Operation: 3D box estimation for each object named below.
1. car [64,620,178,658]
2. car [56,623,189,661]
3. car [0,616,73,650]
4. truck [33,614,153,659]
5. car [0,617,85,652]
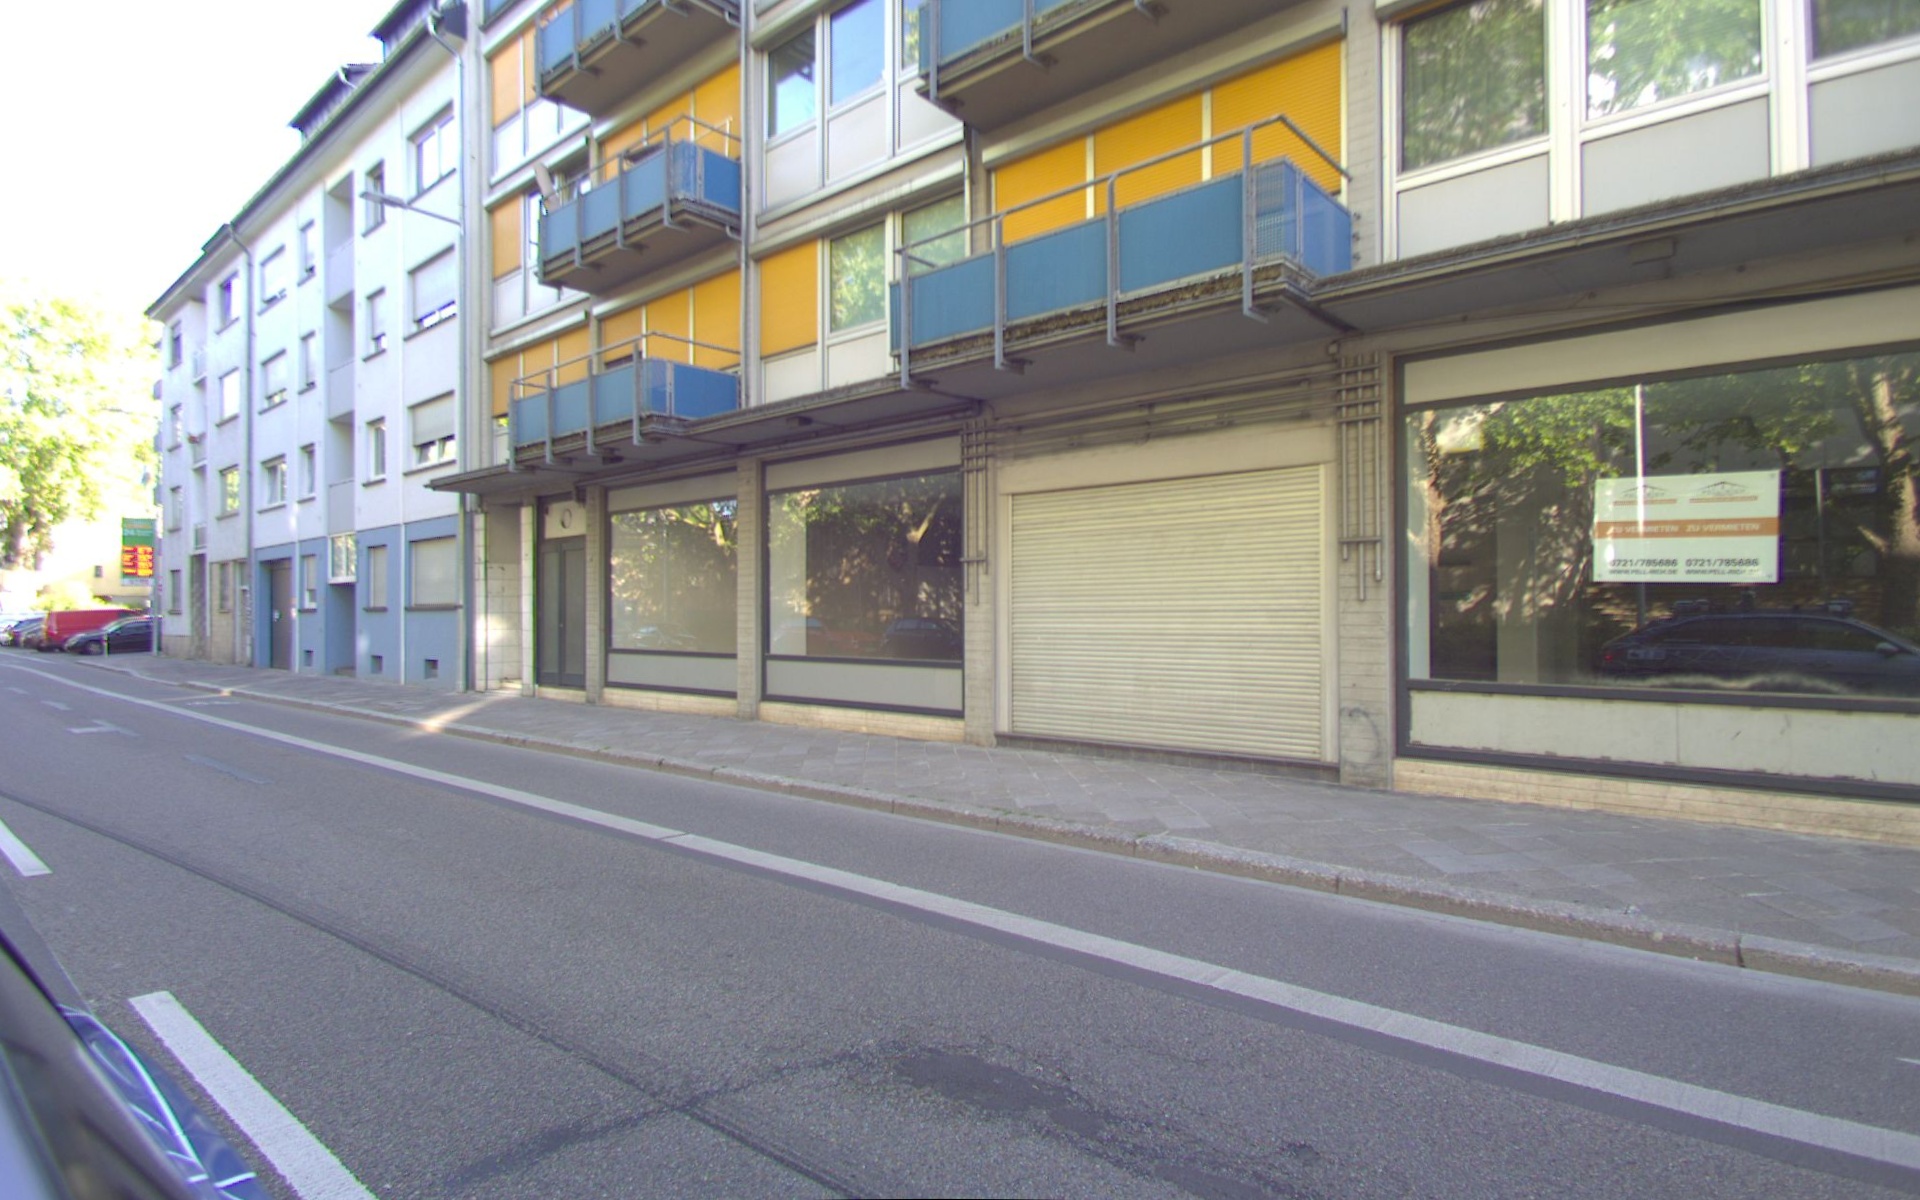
[{"bbox_3d":[-38.036,1.729,45.942,1.657,1.583,3.762,-1,0,41],"label":"car"},{"bbox_3d":[-36.485,1.793,44.159,1.657,1.417,4.269,-1,0,40],"label":"car"},{"bbox_3d":[-59.333,2.093,64.402,2.000,2.052,4.180,-1,0,43],"label":"car"},{"bbox_3d":[-40.713,1.647,47.574,1.999,1.939,4.040,-1,0,40],"label":"truck"},{"bbox_3d":[-56.049,2.064,61.472,2.000,1.971,4.180,-1,0,43],"label":"car"}]
